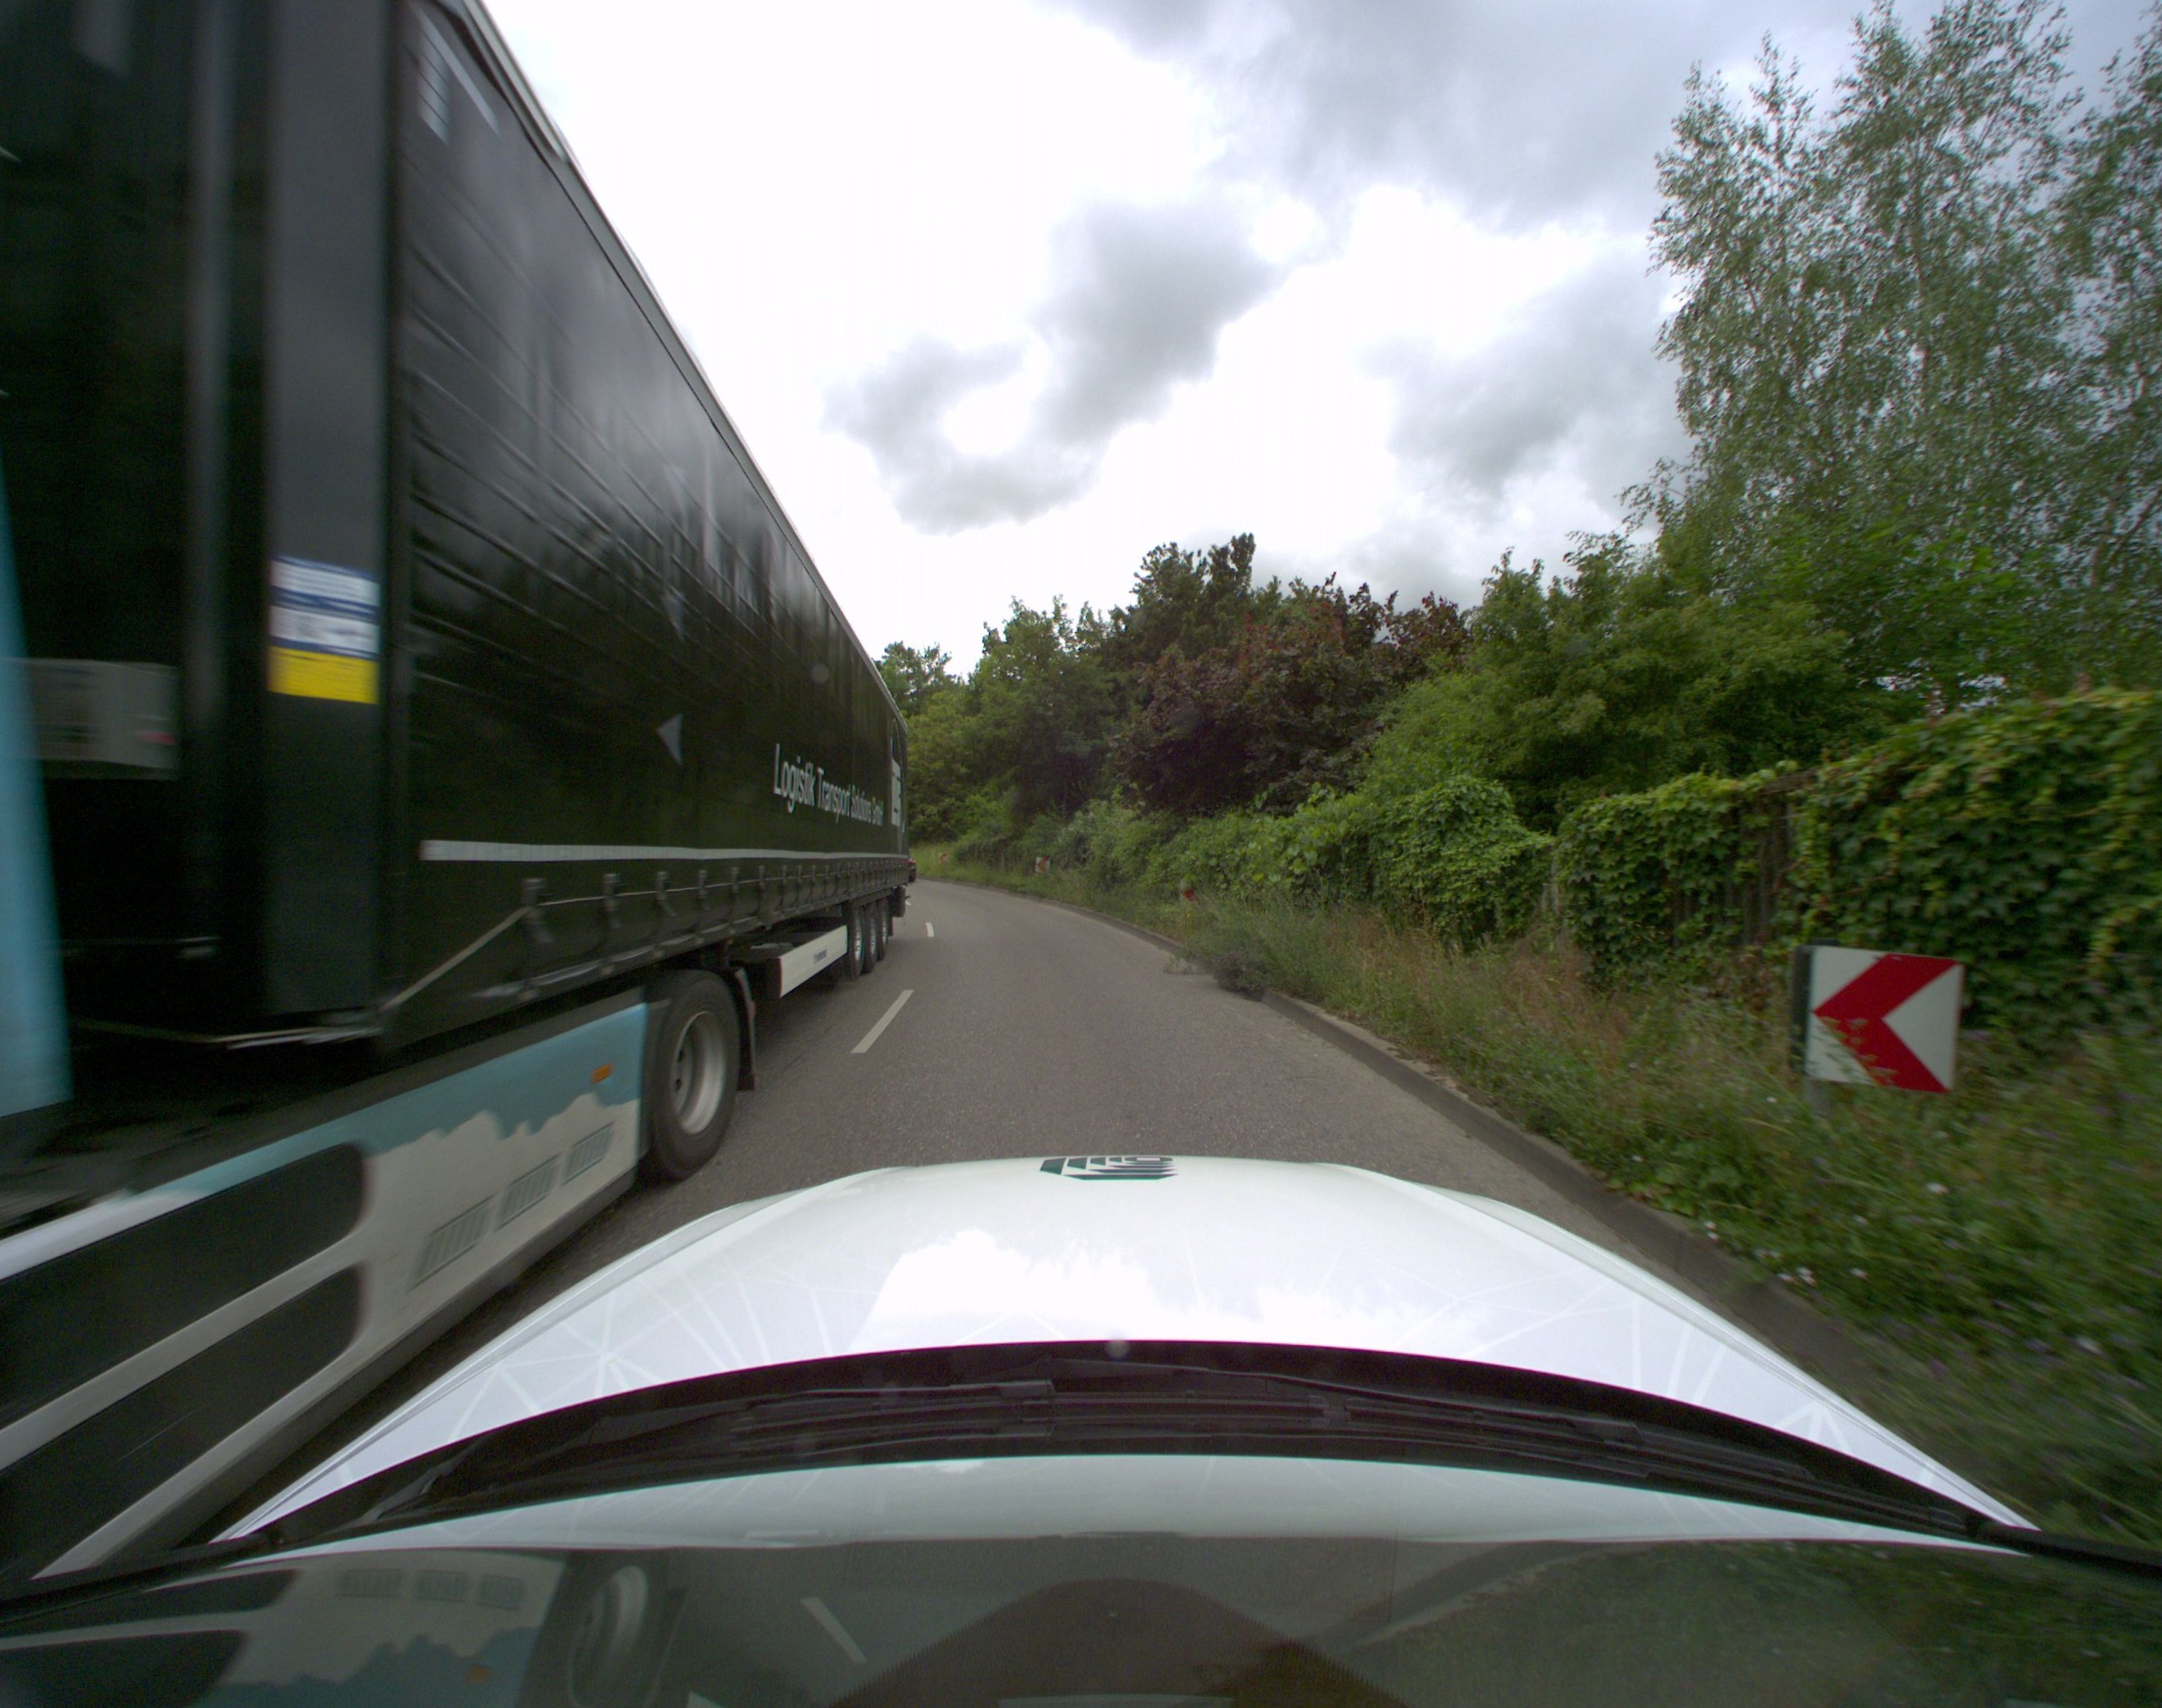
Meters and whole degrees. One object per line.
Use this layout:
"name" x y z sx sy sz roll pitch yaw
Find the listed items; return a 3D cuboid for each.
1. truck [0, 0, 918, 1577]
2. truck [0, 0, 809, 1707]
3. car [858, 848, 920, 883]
"truck" -3.610 -0.407 8.558 2.703 3.950 13.797 -2 0 -8
"truck" -2.874 -0.405 1.920 2.700 3.950 6.318 -2 1 -5
"car" -8.999 0.572 37.880 1.850 1.484 3.963 -1 -2 -28
